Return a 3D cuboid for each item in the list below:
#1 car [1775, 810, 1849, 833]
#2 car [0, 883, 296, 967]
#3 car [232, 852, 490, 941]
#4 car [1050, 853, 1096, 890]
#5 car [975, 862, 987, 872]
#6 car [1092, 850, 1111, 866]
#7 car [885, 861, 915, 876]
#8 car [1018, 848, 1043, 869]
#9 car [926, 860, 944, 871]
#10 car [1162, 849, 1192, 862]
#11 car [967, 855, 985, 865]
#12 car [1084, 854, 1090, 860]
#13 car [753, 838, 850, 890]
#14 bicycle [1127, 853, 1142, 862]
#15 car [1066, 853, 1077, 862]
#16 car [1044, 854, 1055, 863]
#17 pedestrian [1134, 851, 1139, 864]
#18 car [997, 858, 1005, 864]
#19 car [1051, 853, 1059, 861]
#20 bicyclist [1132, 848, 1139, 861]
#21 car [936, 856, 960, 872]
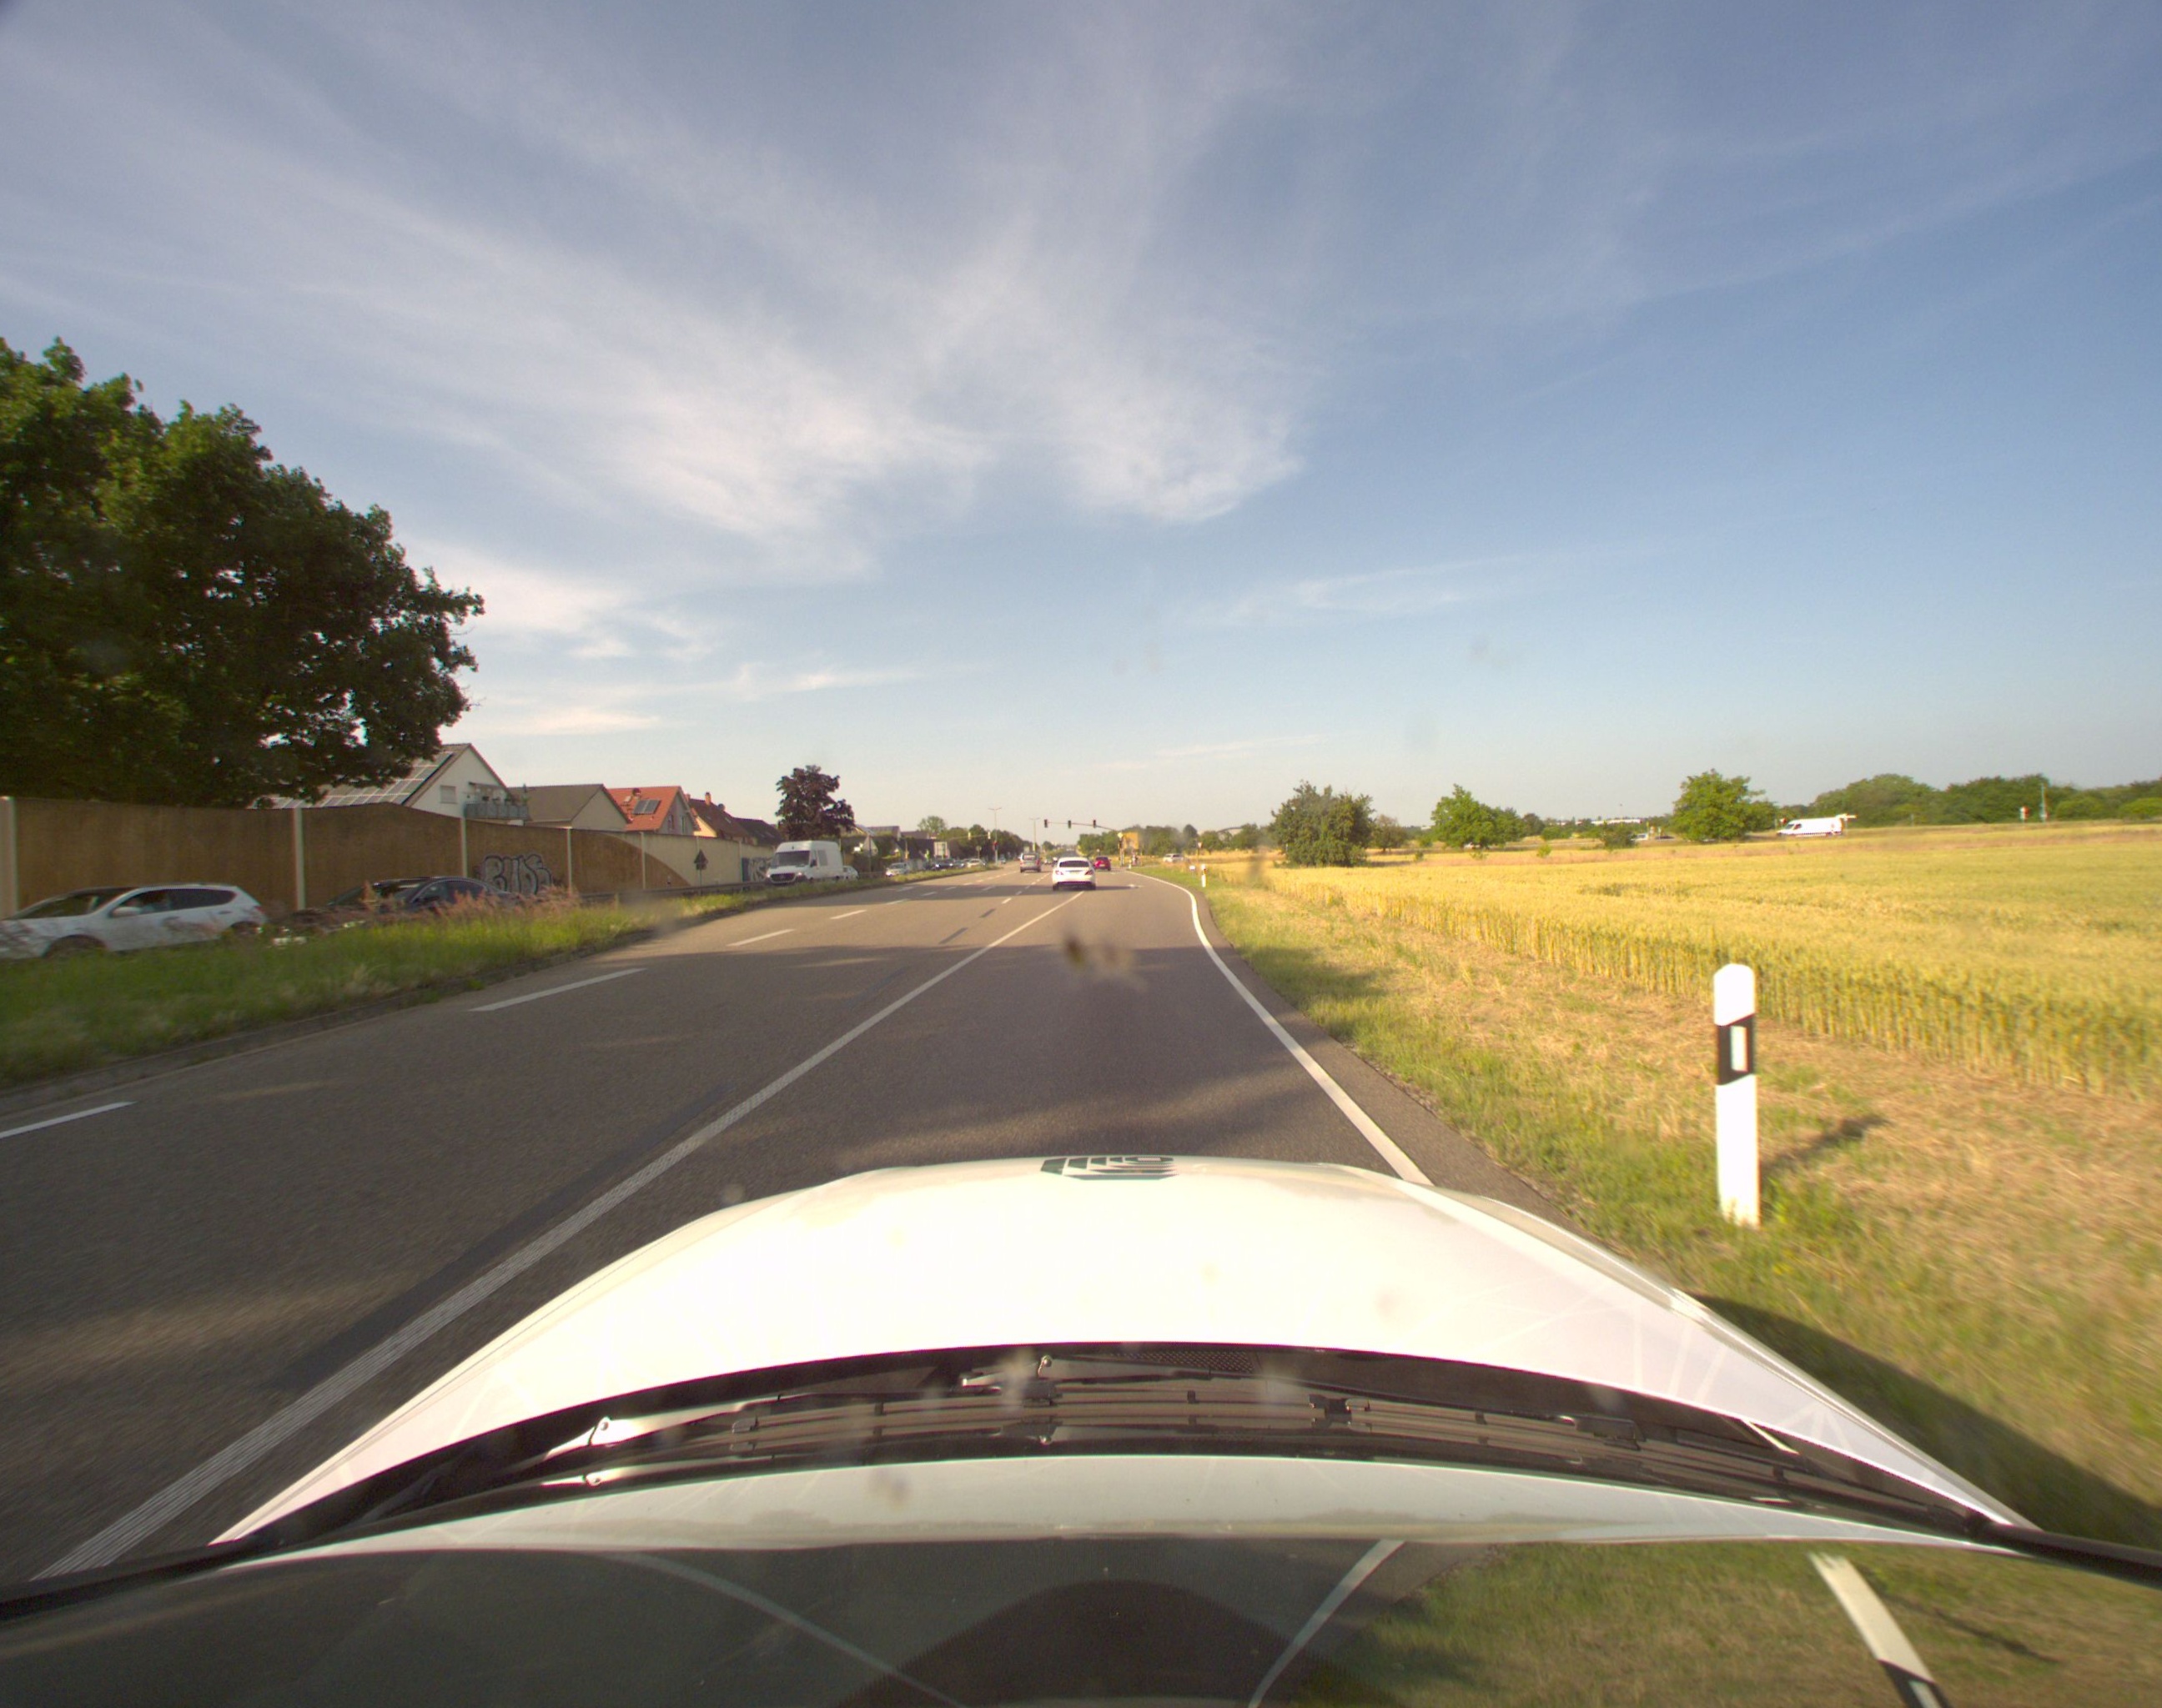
[{"bbox_3d":[96.139,-4.261,107.179,6.970,2.795,2.327,0,0,11],"label":"car"},{"bbox_3d":[-17.080,1.162,14.599,1.663,1.105,4.413,0,0,1],"label":"car"},{"bbox_3d":[-13.255,0.701,15.317,1.643,1.442,3.568,0,0,1],"label":"car"},{"bbox_3d":[-0.349,0.727,36.191,1.889,1.509,3.999,-1,0,-1],"label":"car"},{"bbox_3d":[-18.343,2.304,149.580,1.771,1.751,3.998,0,0,-1],"label":"car"},{"bbox_3d":[2.018,0.392,81.355,1.748,1.517,4.000,-2,0,0],"label":"car"},{"bbox_3d":[-17.267,1.388,77.979,1.774,1.322,4.604,0,0,0],"label":"car"},{"bbox_3d":[-4.862,0.375,78.522,2.018,1.891,4.958,0,1,0],"label":"car"},{"bbox_3d":[-17.531,1.343,98.026,1.680,1.286,3.146,0,0,-1],"label":"car"},{"bbox_3d":[12.799,0.187,108.801,4.023,1.598,1.838,-1,0,-45],"label":"car"},{"bbox_3d":[-13.917,0.795,108.442,1.868,1.321,4.712,0,0,-1],"label":"car"},{"bbox_3d":[1.342,0.656,184.828,1.435,1.284,2.914,0,0,0],"label":"car"},{"bbox_3d":[-13.515,0.424,40.031,2.341,2.303,7.188,0,0,-1],"label":"car"},{"bbox_3d":[7.370,0.479,111.811,2.087,1.089,0.808,0,0,2],"label":"bicycle"},{"bbox_3d":[-1.792,0.572,157.087,1.832,1.684,4.002,0,0,2],"label":"car"},{"bbox_3d":[-5.752,0.820,148.794,1.712,1.492,3.584,0,0,0],"label":"car"},{"bbox_3d":[7.525,0.470,110.492,0.707,1.751,0.863,0,0,1],"label":"pedestrian"},{"bbox_3d":[-19.116,1.591,194.896,1.780,1.437,4.351,0,0,-4],"label":"car"},{"bbox_3d":[-5.841,0.667,183.843,1.772,1.665,3.658,0,0,-4],"label":"car"},{"bbox_3d":[7.454,0.070,111.792,0.845,1.756,0.799,0,0,1],"label":"bicyclist"},{"bbox_3d":[-13.993,1.007,85.939,1.726,1.625,4.920,0,0,-1],"label":"car"}]
